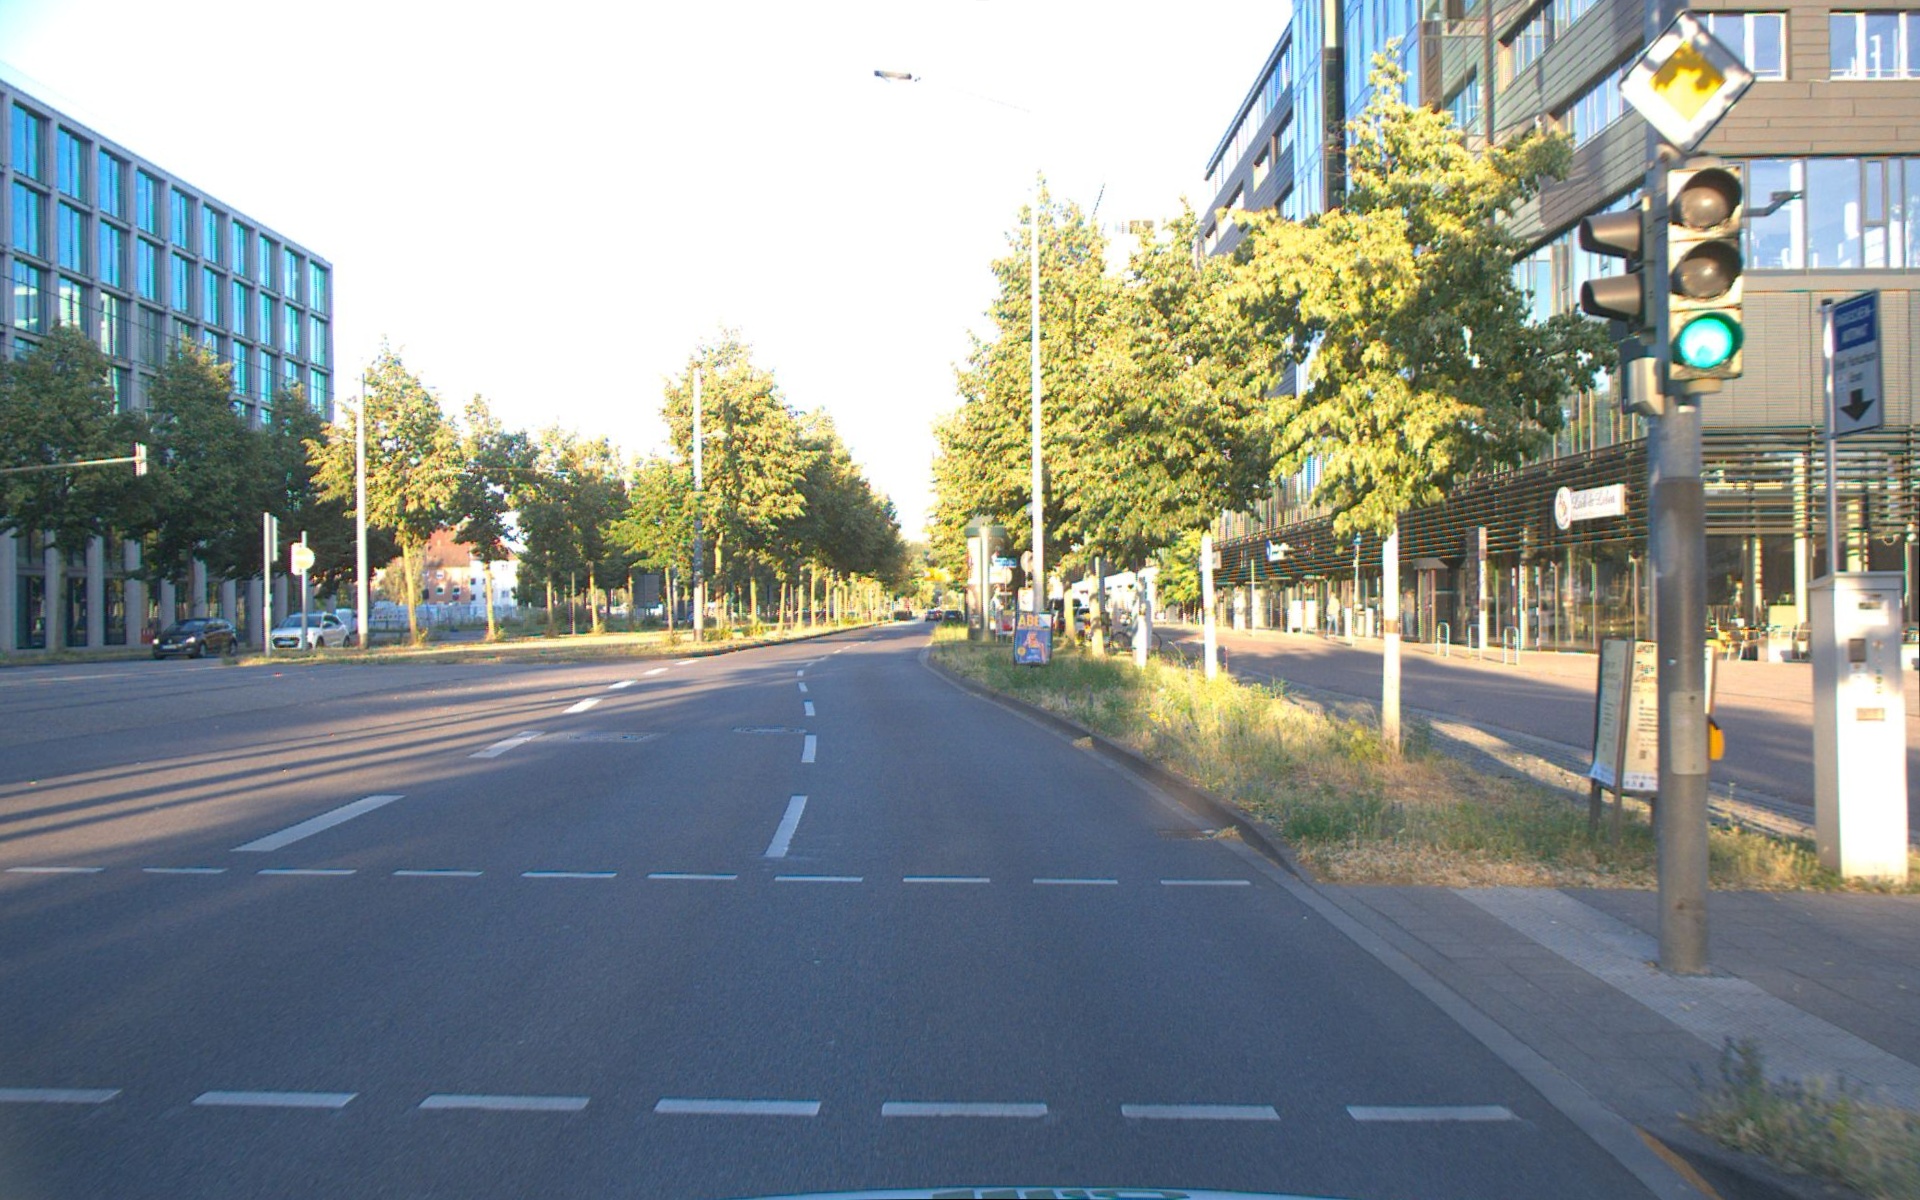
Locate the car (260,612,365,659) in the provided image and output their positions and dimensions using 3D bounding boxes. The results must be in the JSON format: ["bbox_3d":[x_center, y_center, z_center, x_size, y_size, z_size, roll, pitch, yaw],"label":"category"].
[{"bbox_3d":[-21.903,1.182,56.130,1.864,1.511,4.629,-1,-1,-2],"label":"car"}]

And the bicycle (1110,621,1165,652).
[{"bbox_3d":[5.441,1.120,50.743,1.687,0.926,0.361,-1,0,33],"label":"bicycle"}]

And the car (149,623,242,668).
[{"bbox_3d":[-27.406,1.601,59.414,1.607,1.474,3.998,-1,0,-2],"label":"car"}]

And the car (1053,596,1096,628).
[{"bbox_3d":[5.590,0.590,81.311,1.821,1.523,4.290,-1,0,0],"label":"car"}]

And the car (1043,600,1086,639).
[{"bbox_3d":[5.581,1.059,88.752,1.946,2.024,4.931,0,-1,-1],"label":"car"}]

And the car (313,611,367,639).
[{"bbox_3d":[-47.049,1.925,125.676,2.161,2.049,5.083,-1,-1,0],"label":"car"}]

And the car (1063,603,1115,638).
[{"bbox_3d":[5.835,0.925,75.454,1.878,1.523,5.040,0,-1,-1],"label":"car"}]

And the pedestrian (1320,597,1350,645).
[{"bbox_3d":[14.601,0.824,64.418,0.878,1.828,0.912,-1,-1,-2],"label":"pedestrian"}]

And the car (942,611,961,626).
[{"bbox_3d":[-0.884,1.909,168.545,1.873,1.512,3.999,0,-1,-1],"label":"car"}]
